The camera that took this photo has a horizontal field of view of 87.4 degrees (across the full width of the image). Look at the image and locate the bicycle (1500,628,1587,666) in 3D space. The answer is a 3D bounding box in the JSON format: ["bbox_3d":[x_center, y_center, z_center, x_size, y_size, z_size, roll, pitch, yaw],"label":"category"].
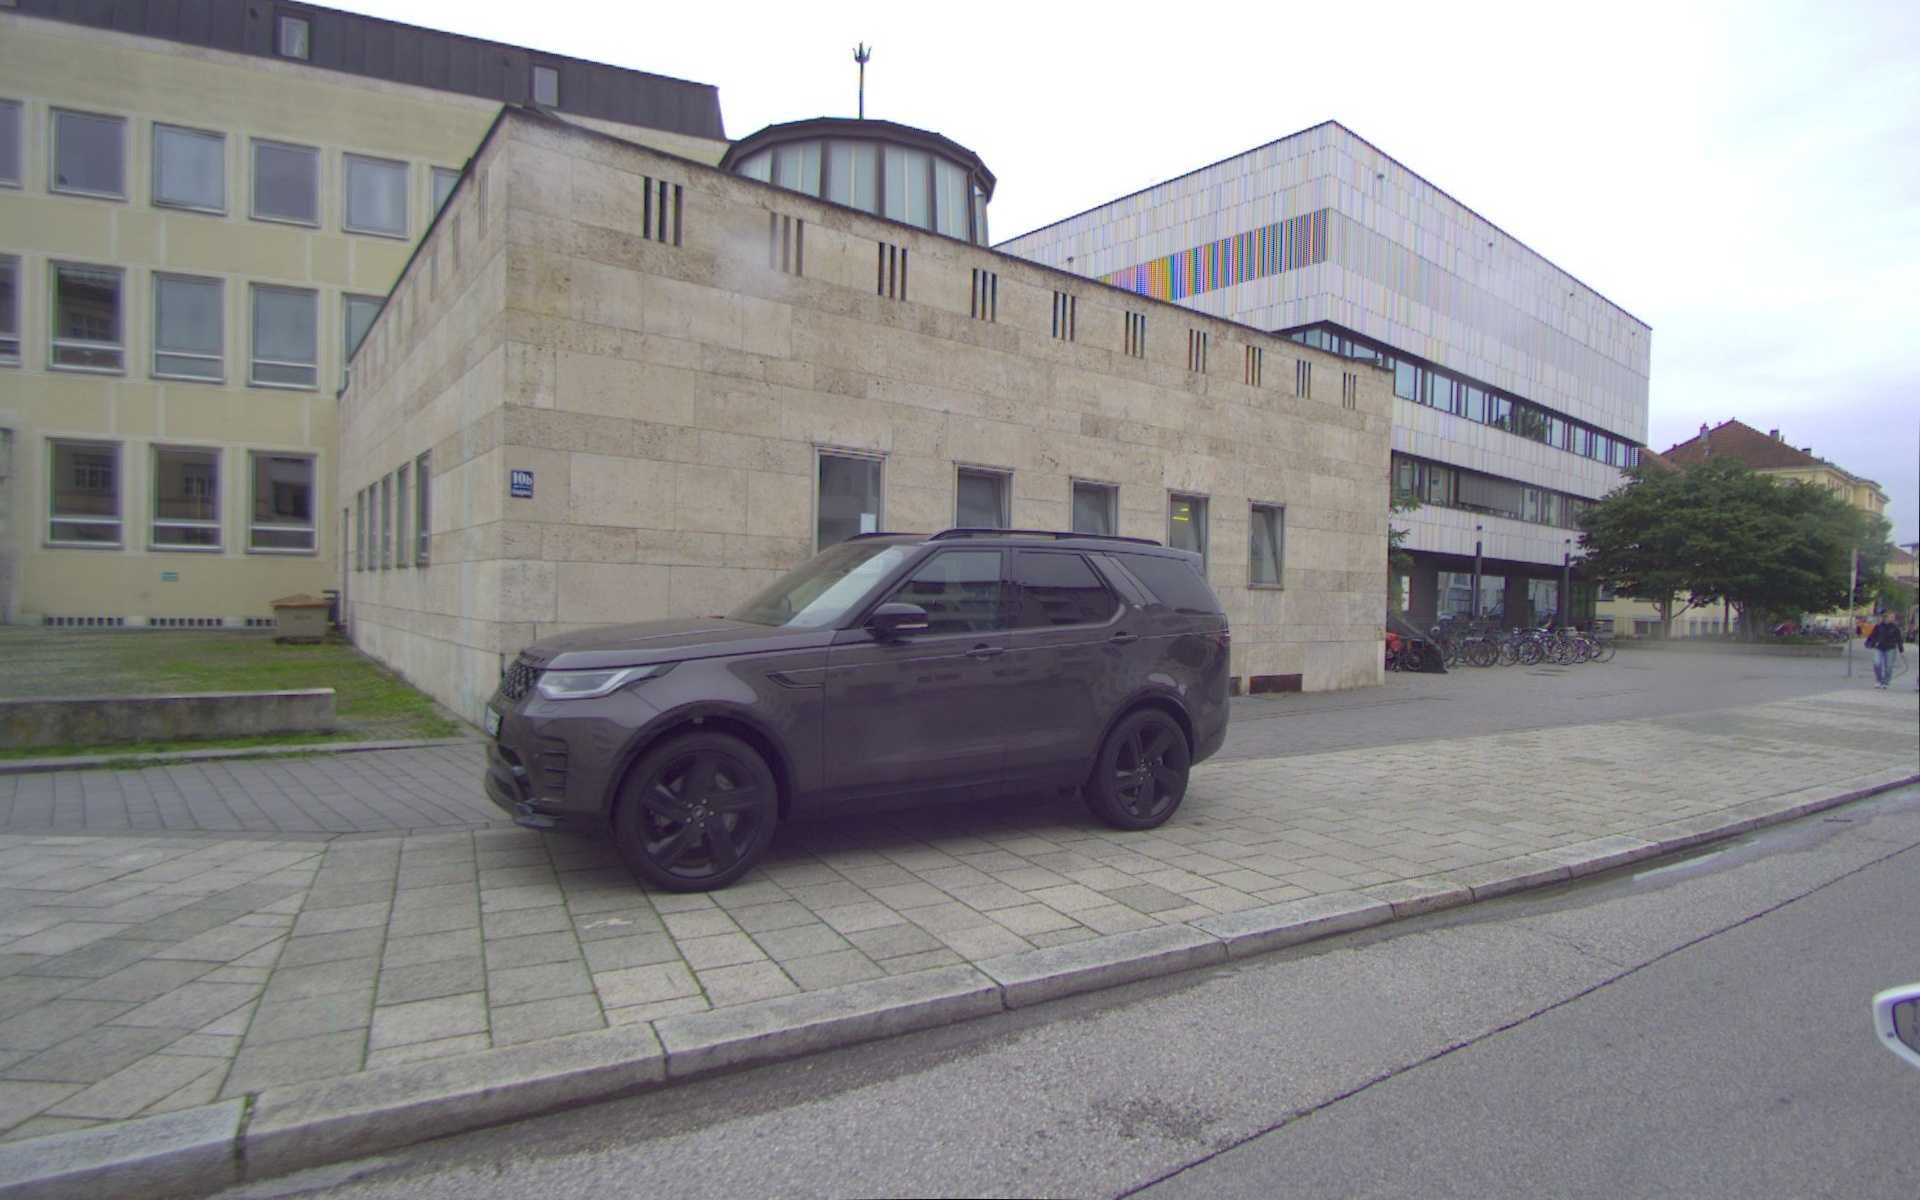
[{"bbox_3d":[16.661,1.329,28.729,2.008,0.898,0.671,5,3,44],"label":"bicycle"}]

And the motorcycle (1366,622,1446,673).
[{"bbox_3d":[10.279,1.079,23.169,0.510,1.084,1.590,1,1,-44],"label":"motorcycle"}]

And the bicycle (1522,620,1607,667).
[{"bbox_3d":[17.929,1.264,29.814,2.008,1.172,0.591,7,4,43],"label":"bicycle"}]

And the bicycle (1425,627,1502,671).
[{"bbox_3d":[12.981,1.255,25.925,0.593,0.925,1.628,1,4,-44],"label":"bicycle"}]

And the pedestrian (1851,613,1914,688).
[{"bbox_3d":[20.931,1.128,22.793,0.909,1.651,0.759,1,1,-26],"label":"pedestrian"}]

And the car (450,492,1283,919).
[{"bbox_3d":[-0.390,0.470,6.334,4.835,1.759,2.039,2,1,-34],"label":"car"}]

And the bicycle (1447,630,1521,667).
[{"bbox_3d":[14.171,1.299,27.191,1.626,0.808,0.525,7,4,42],"label":"bicycle"}]

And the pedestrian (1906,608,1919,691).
[{"bbox_3d":[21.291,1.090,21.940,0.912,1.792,0.730,1,1,-36],"label":"pedestrian"}]

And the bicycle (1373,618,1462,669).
[{"bbox_3d":[11.458,1.071,25.206,0.536,1.046,1.890,1,4,-44],"label":"bicycle"}]

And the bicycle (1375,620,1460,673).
[{"bbox_3d":[10.812,1.089,23.784,0.536,1.046,1.691,1,4,-44],"label":"bicycle"}]

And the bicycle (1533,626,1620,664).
[{"bbox_3d":[18.848,1.365,30.751,2.092,0.890,0.824,7,4,43],"label":"bicycle"}]

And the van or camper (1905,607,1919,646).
[{"bbox_3d":[66.520,1.858,69.001,4.738,2.585,2.076,1,1,-44],"label":"van or camper"}]

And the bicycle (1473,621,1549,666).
[{"bbox_3d":[15.253,1.189,27.840,1.707,1.046,0.525,7,4,42],"label":"bicycle"}]
